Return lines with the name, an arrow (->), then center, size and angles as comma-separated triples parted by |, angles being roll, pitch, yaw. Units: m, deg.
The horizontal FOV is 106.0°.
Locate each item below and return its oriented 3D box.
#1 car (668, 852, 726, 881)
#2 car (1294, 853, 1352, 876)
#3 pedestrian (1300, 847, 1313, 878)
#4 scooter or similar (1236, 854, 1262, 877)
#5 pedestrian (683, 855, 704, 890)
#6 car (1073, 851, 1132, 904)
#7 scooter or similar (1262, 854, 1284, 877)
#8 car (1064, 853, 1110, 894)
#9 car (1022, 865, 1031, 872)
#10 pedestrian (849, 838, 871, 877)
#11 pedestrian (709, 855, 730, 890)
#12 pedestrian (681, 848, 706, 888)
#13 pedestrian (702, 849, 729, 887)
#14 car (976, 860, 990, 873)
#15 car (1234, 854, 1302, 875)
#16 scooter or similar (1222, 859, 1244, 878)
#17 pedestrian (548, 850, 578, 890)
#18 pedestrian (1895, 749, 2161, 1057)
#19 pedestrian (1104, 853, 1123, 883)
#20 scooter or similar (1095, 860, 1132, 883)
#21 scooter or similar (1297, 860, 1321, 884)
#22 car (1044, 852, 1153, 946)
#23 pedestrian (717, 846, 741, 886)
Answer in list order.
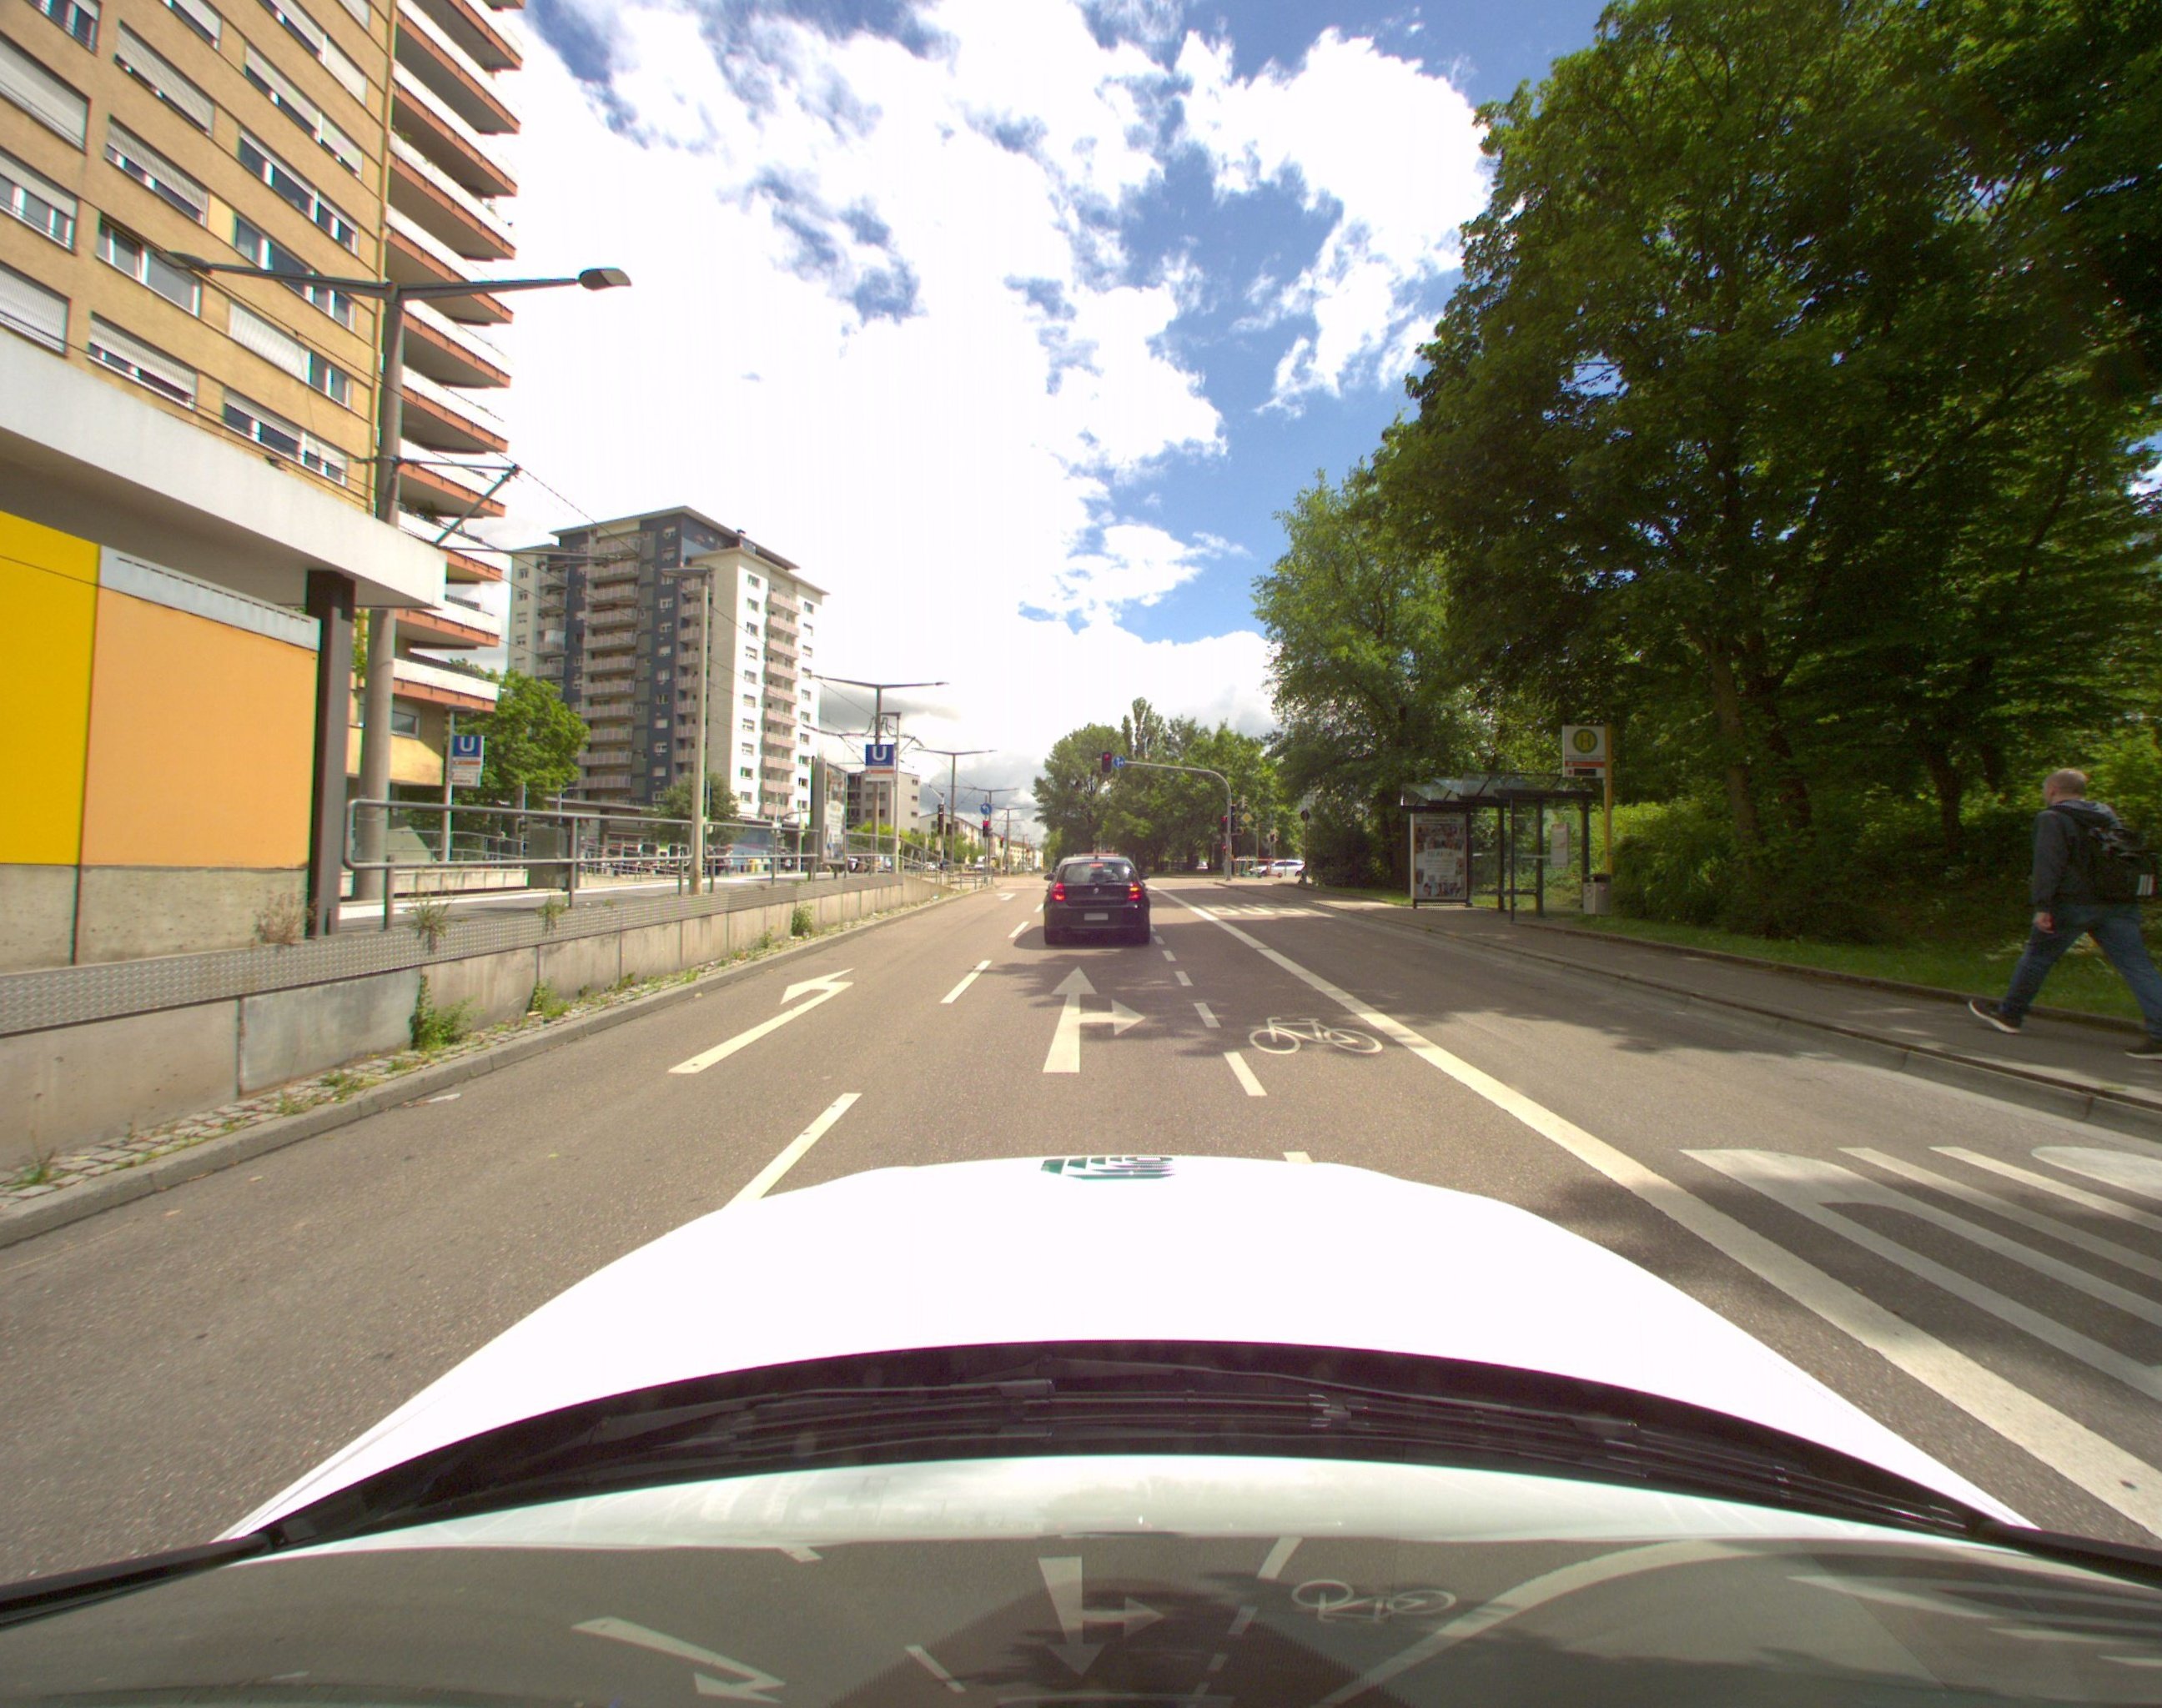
car -> -28.473, 0.881, 60.459 | 3.725, 2.013, 1.800 | -1, 0, -22
car -> 17.303, 0.740, 58.253 | 3.578, 1.600, 1.705 | -1, -1, -11
pedestrian -> 13.232, 0.492, 47.808 | 0.608, 1.790, 0.571 | 3, 0, 20
scooter or similar -> 8.911, 0.626, 43.134 | 1.290, 1.189, 0.383 | -1, 0, -15
pedestrian -> -15.231, 0.730, 32.002 | 0.660, 1.343, 0.558 | -1, 0, 43
car -> 0.658, 0.634, 23.842 | 1.588, 1.419, 3.519 | -1, 0, 2
scooter or similar -> 10.360, 0.619, 43.948 | 1.107, 1.258, 0.331 | -1, 0, -11
car -> 0.218, 0.695, 30.727 | 1.649, 1.419, 3.516 | -1, 0, 0
car -> -12.820, 3.503, 192.297 | 1.961, 1.596, 3.998 | 0, 0, -1
pedestrian -> -9.441, 0.156, 34.769 | 0.698, 1.632, 0.638 | -1, 0, 1
pedestrian -> -14.227, 0.720, 32.017 | 0.691, 1.342, 0.852 | 0, 0, -29
pedestrian -> -15.619, 0.562, 32.837 | 0.605, 1.583, 0.776 | 0, 0, 5
pedestrian -> -15.408, 0.583, 34.333 | 0.857, 1.578, 0.622 | 0, 0, -7
car -> -19.789, 2.515, 165.177 | 2.132, 2.640, 5.358 | 0, 0, 0
car -> 14.017, 0.778, 61.039 | 4.571, 1.526, 1.939 | -1, 0, -10
scooter or similar -> 7.831, 0.749, 41.996 | 1.121, 0.957, 0.299 | -1, 0, -15
pedestrian -> -21.945, 0.673, 34.527 | 0.850, 1.696, 0.693 | 0, 0, 22
pedestrian -> 6.684, 0.300, 5.660 | 0.798, 1.895, 1.271 | -1, 0, 2
pedestrian -> 1.594, 0.672, 39.784 | 0.860, 1.442, 0.800 | -1, 0, 8
scooter or similar -> 1.565, 0.850, 39.220 | 1.776, 1.050, 0.410 | -1, 0, -3
scooter or similar -> 10.857, 0.852, 38.726 | 1.153, 1.099, 0.329 | 0, 0, -22
car -> 0.371, 0.678, 14.155 | 1.647, 1.419, 3.520 | -1, 0, 3
pedestrian -> -15.267, 0.507, 35.332 | 0.677, 1.706, 0.826 | 0, 0, -1
